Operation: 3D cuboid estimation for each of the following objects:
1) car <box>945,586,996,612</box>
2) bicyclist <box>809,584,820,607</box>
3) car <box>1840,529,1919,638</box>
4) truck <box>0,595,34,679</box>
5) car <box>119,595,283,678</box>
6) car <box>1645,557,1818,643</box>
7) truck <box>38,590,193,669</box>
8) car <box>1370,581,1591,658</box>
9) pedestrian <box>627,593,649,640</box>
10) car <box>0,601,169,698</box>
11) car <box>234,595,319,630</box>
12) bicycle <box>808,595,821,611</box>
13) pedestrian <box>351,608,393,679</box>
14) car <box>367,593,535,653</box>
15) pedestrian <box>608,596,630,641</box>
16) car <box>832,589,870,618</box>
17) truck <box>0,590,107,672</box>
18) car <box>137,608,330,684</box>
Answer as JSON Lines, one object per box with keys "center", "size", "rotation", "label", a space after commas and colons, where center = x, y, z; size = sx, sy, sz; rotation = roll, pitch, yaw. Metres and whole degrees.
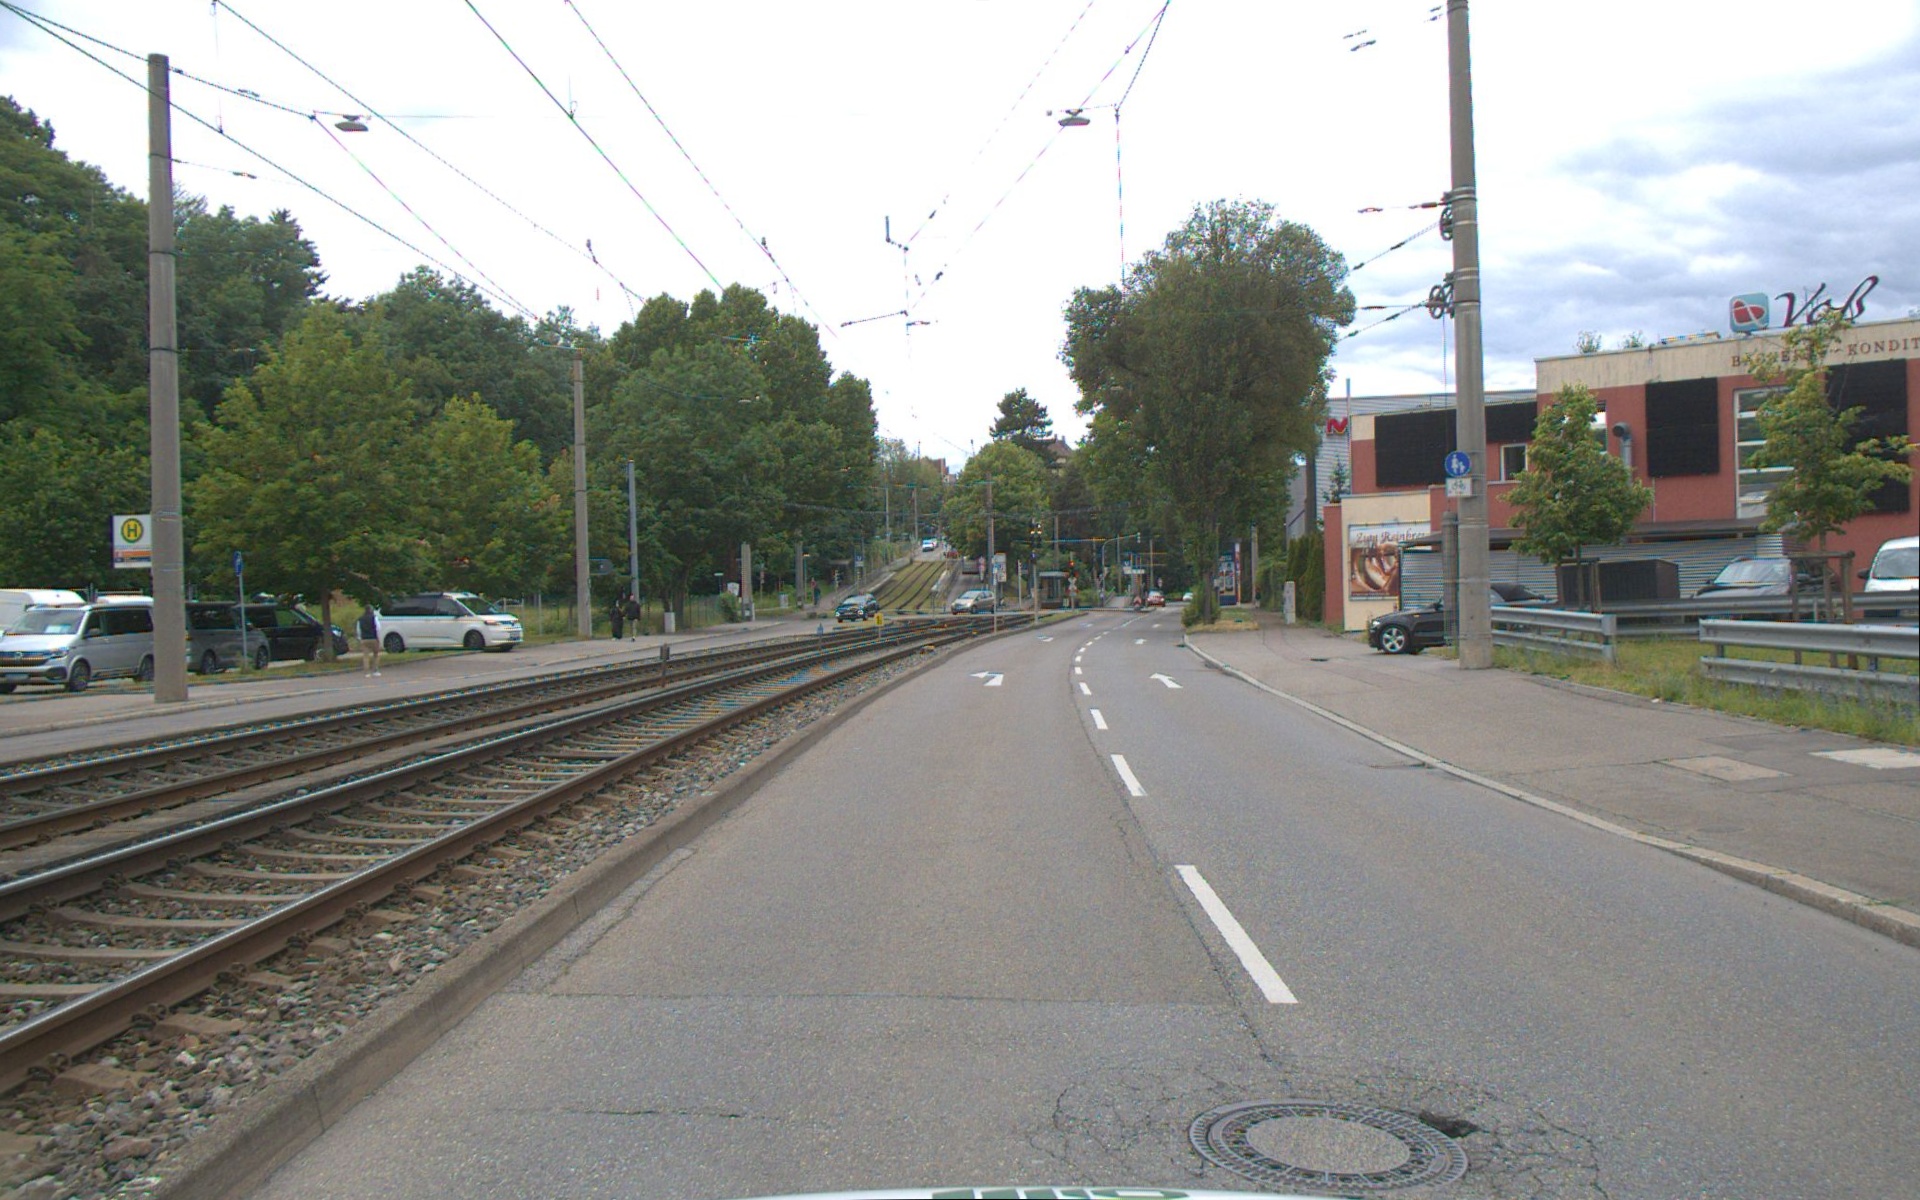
{"center": [0.747, -0.075, 114.531], "size": [1.853, 1.558, 4.254], "rotation": [-4, 0, 25], "label": "car"}
{"center": [-12.196, -0.344, 138.720], "size": [0.806, 1.881, 1.049], "rotation": [-2, 0, -9], "label": "bicyclist"}
{"center": [17.602, -0.335, 30.625], "size": [1.822, 1.864, 4.527], "rotation": [-2, 0, 34], "label": "car"}
{"center": [-32.532, 1.232, 53.181], "size": [4.958, 2.633, 2.466], "rotation": [-2, 0, 28], "label": "truck"}
{"center": [-20.486, 0.923, 44.922], "size": [1.952, 2.049, 5.130], "rotation": [-2, 0, 1], "label": "car"}
{"center": [15.360, -0.033, 32.813], "size": [2.120, 1.575, 4.500], "rotation": [-1, 1, 38], "label": "car"}
{"center": [-29.911, 1.042, 58.568], "size": [4.958, 2.633, 2.466], "rotation": [-2, 0, 28], "label": "truck"}
{"center": [10.961, 0.421, 34.894], "size": [4.142, 1.468, 1.759], "rotation": [-2, 0, 31], "label": "car"}
{"center": [-12.824, 0.657, 65.860], "size": [0.662, 1.845, 0.856], "rotation": [0, 0, 5], "label": "pedestrian"}
{"center": [-20.650, 1.103, 38.553], "size": [1.952, 2.049, 4.919], "rotation": [-2, 0, 1], "label": "car"}
{"center": [-40.936, 0.735, 99.140], "size": [1.958, 2.049, 4.390], "rotation": [-1, 0, 33], "label": "car"}
{"center": [-12.225, 0.254, 139.019], "size": [0.809, 1.367, 2.990], "rotation": [-2, 0, -9], "label": "bicycle"}
{"center": [-14.457, 1.063, 40.671], "size": [0.704, 1.684, 1.041], "rotation": [1, 0, -5], "label": "pedestrian"}
{"center": [-16.756, 0.748, 54.503], "size": [4.949, 1.921, 2.168], "rotation": [0, 0, 16], "label": "car"}
{"center": [-13.564, 0.725, 65.846], "size": [0.615, 1.743, 0.856], "rotation": [0, 0, 5], "label": "pedestrian"}
{"center": [-6.390, 0.197, 97.162], "size": [1.652, 1.558, 4.258], "rotation": [-4, 0, 3], "label": "car"}
{"center": [-32.096, 1.072, 56.484], "size": [5.648, 2.633, 2.466], "rotation": [-2, 0, 28], "label": "truck"}
{"center": [-21.883, 1.341, 49.868], "size": [5.013, 2.049, 2.140], "rotation": [-2, 0, -35], "label": "car"}
